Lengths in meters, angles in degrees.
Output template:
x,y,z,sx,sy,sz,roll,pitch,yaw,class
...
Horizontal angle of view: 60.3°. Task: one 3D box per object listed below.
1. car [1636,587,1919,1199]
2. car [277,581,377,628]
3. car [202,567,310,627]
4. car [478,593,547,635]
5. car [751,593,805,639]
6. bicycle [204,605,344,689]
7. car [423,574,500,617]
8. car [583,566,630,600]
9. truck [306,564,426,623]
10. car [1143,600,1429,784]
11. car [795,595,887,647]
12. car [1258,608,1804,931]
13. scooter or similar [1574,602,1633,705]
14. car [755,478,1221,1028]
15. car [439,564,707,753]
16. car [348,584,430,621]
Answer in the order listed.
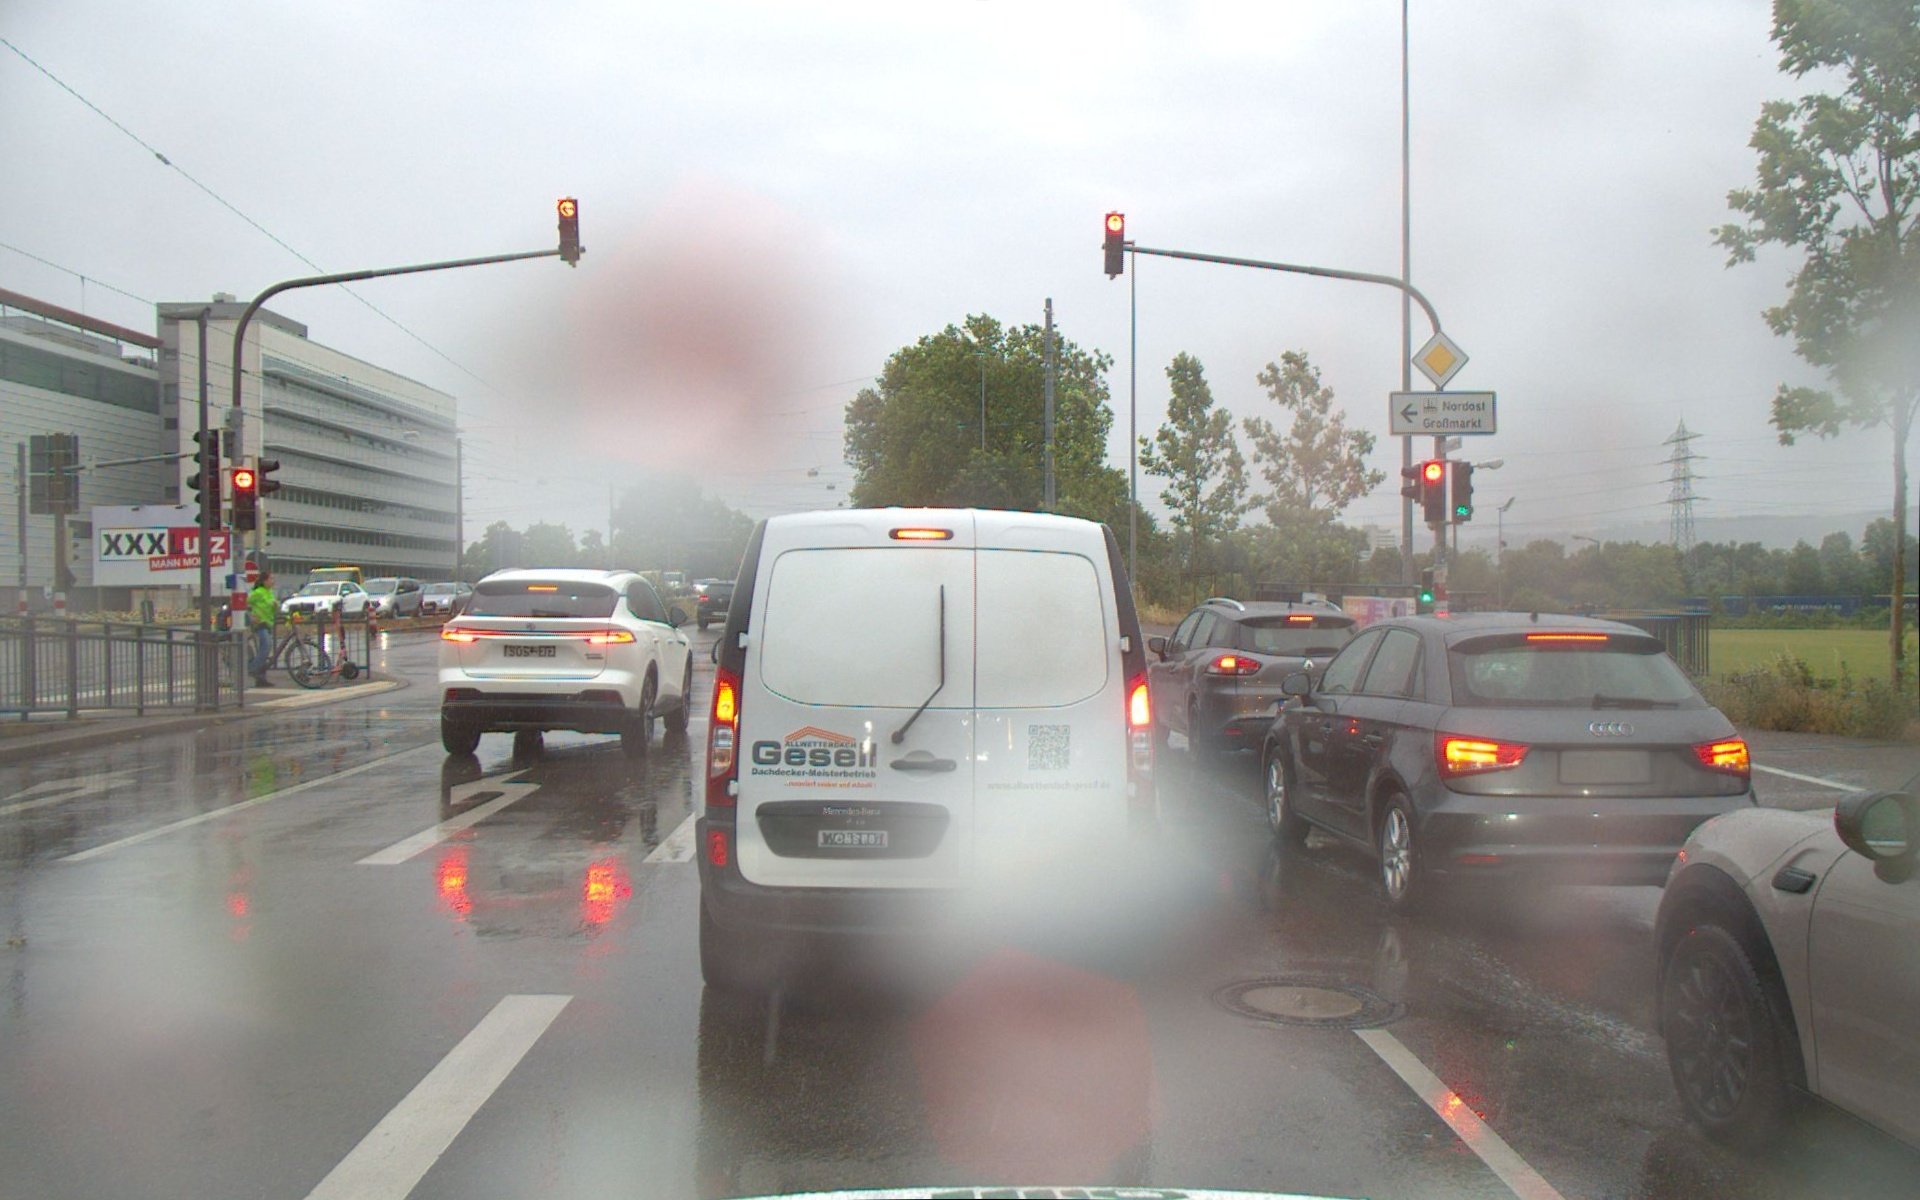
x,y,z,sx,sy,sz,roll,pitch,yaw,class
2.948,0.754,3.222,1.679,1.534,3.622,1,0,-2,car
-21.671,0.150,56.789,1.662,1.518,3.878,1,0,5,car
-25.294,-0.108,59.592,1.952,2.049,4.002,1,0,3,car
-20.805,0.643,77.100,1.889,1.859,4.002,1,0,4,car
-6.354,0.536,57.423,1.585,1.530,3.706,1,0,-10,car
-9.634,0.656,23.263,1.716,1.052,0.414,4,-1,-3,bicycle
-21.057,-0.177,70.030,1.853,1.729,4.001,1,0,3,car
-22.151,-1.019,103.762,1.952,2.049,4.000,1,0,1,car
-25.075,-0.238,70.179,2.303,2.319,7.632,1,0,0,truck
2.904,0.762,15.553,1.822,1.453,3.806,1,1,-2,car
-3.432,0.602,48.223,1.473,1.447,3.869,1,0,15,car
2.800,0.743,8.953,1.596,1.368,3.622,1,0,-2,car
7.614,0.616,19.589,0.240,1.178,1.186,1,0,1,scooter or similar
0.069,0.514,7.501,1.534,1.819,3.999,0,0,-1,car
-3.587,0.472,16.071,1.694,1.562,4.296,1,1,-2,car
-21.600,0.107,62.716,1.554,1.359,3.832,1,-1,4,car
